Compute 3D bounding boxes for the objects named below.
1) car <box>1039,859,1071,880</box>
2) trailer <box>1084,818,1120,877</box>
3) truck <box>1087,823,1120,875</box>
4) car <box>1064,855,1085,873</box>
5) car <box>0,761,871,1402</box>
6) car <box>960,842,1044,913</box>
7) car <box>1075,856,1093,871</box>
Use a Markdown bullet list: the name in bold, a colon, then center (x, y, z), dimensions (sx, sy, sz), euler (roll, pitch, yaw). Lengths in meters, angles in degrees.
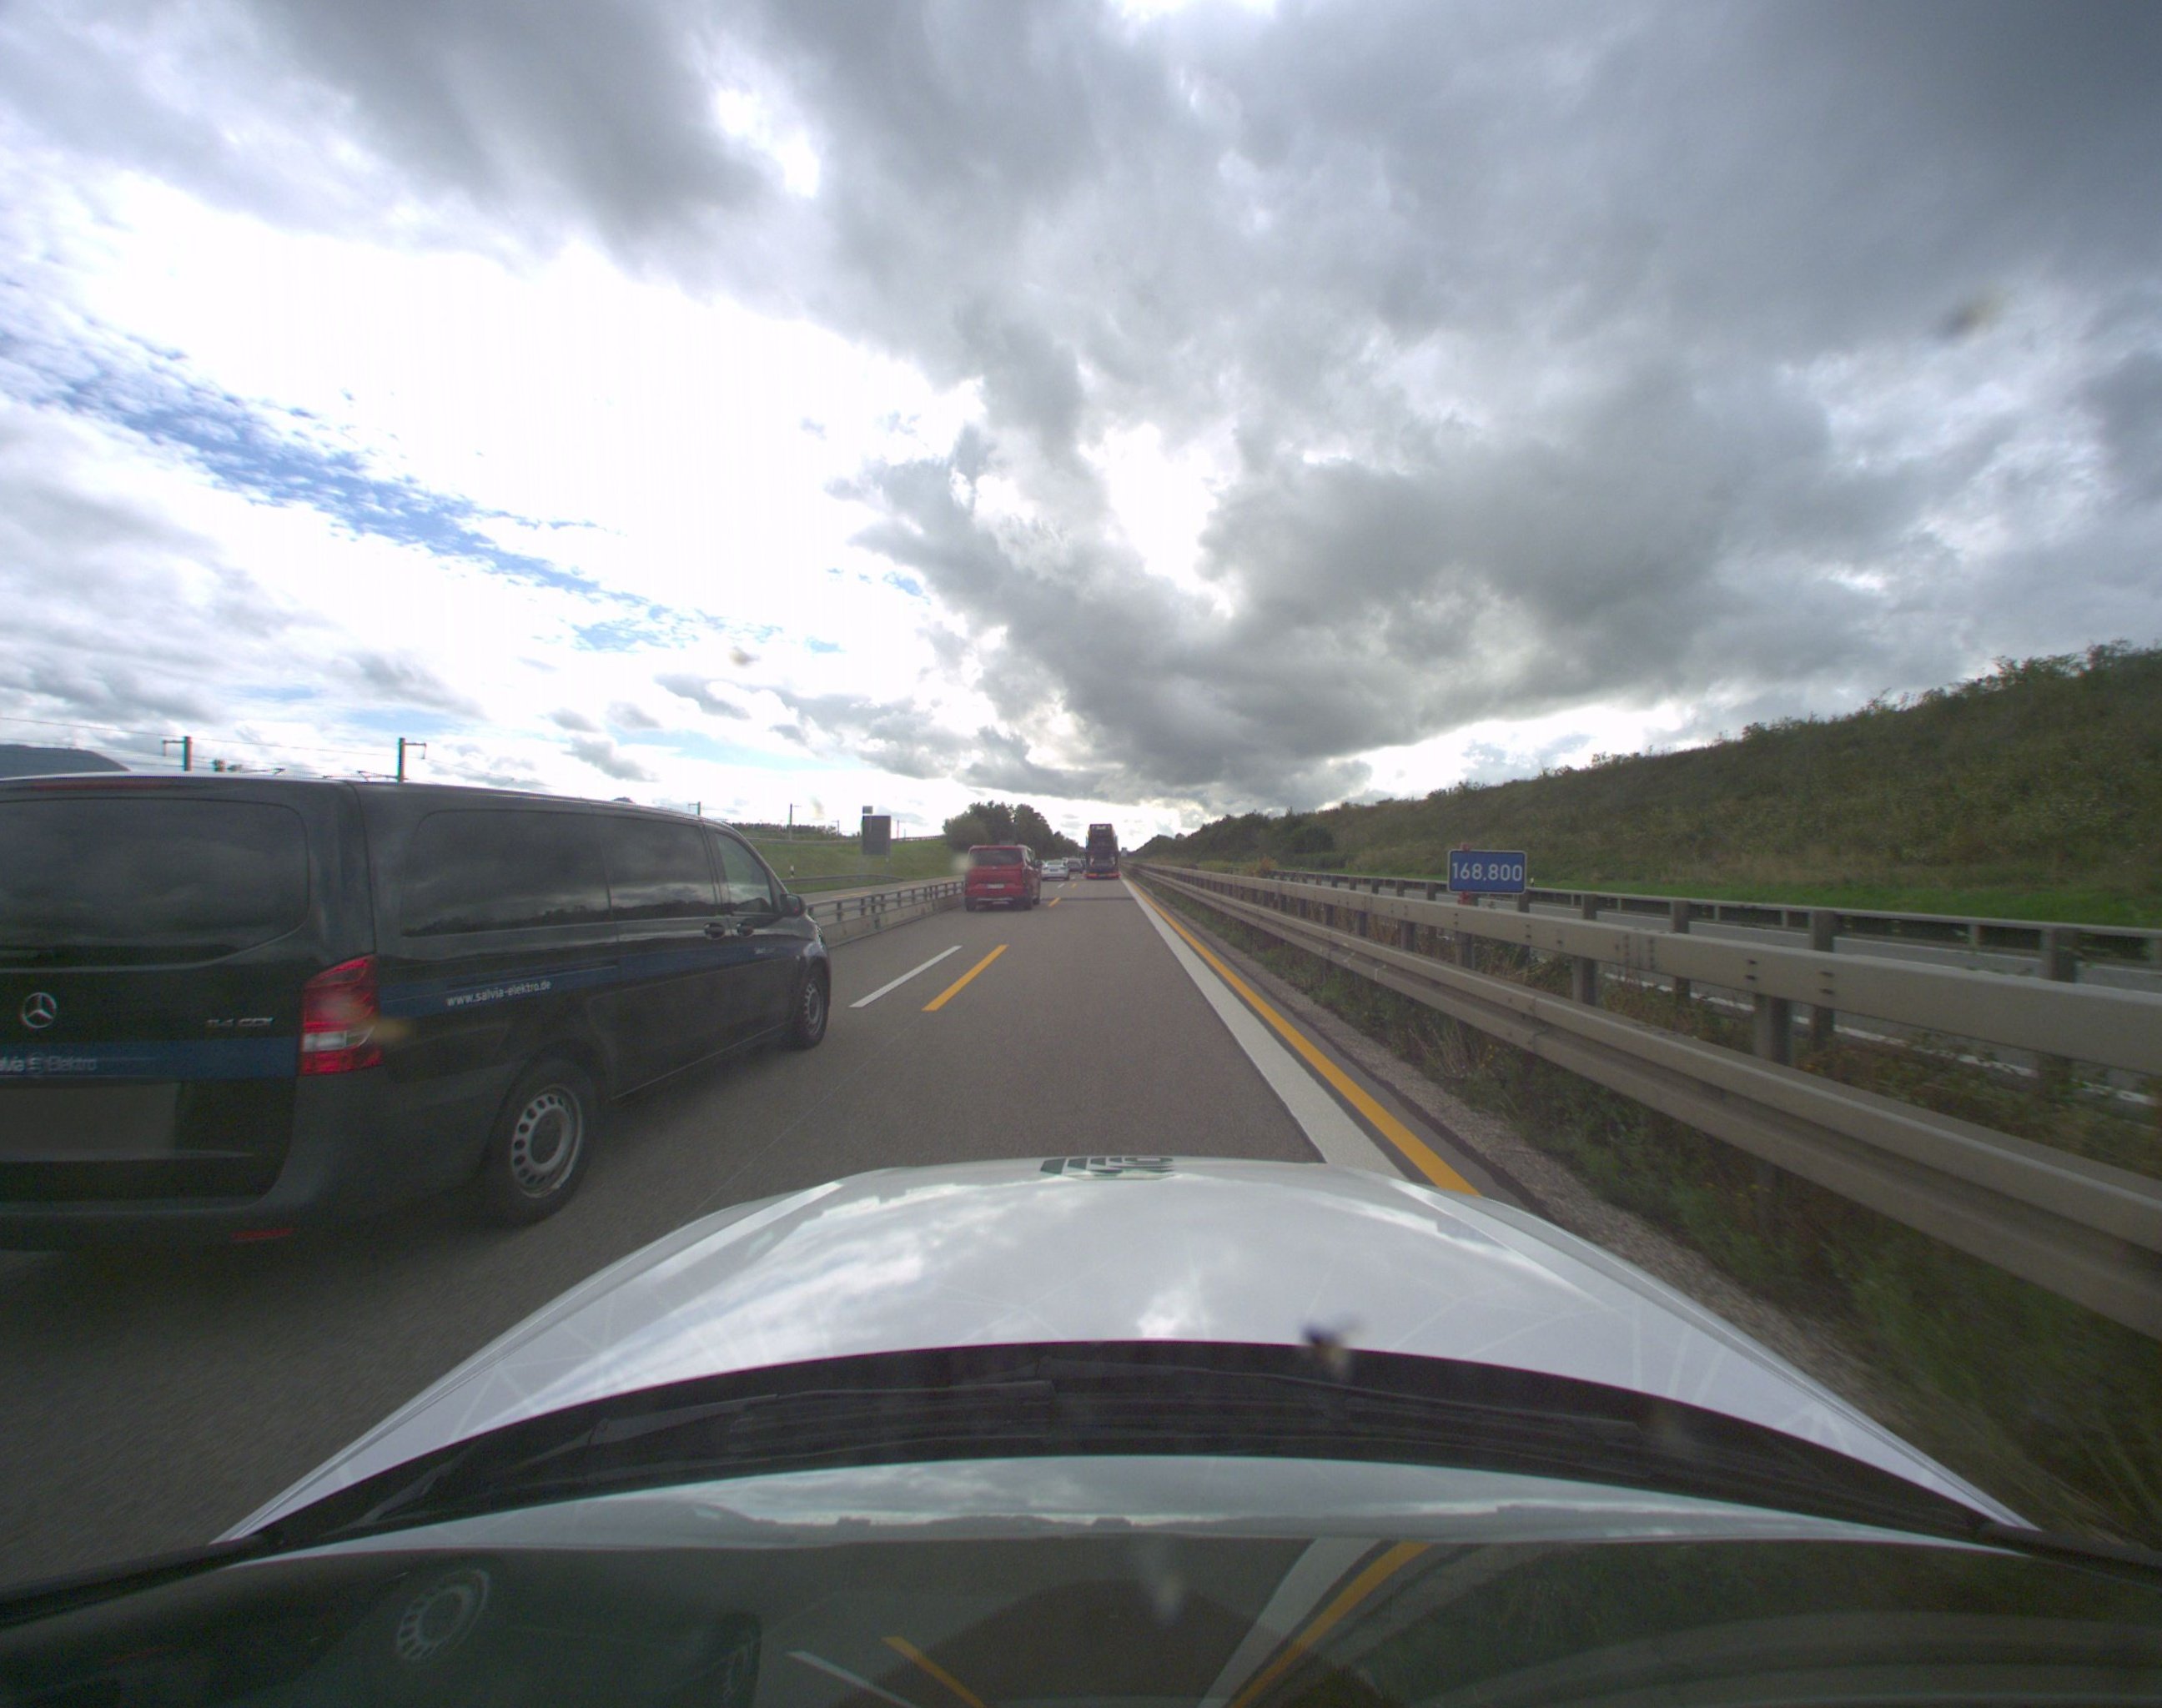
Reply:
- **car**: center (-1.837, 1.089, 58.727), dimensions (2.024, 1.431, 4.579), euler (-1, 0, 1)
- **trailer**: center (1.709, -0.423, 62.854), dimensions (2.505, 4.105, 11.120), euler (-1, 0, 3)
- **truck**: center (1.920, -0.394, 67.696), dimensions (2.505, 4.105, 5.688), euler (-1, 0, 2)
- **car**: center (-0.632, 1.004, 84.502), dimensions (2.024, 1.757, 4.579), euler (-1, 0, 1)
- **car**: center (-3.172, 0.689, 5.185), dimensions (1.986, 1.843, 5.612), euler (-1, 0, 2)
- **car**: center (-2.380, 0.701, 25.834), dimensions (2.023, 2.014, 4.580), euler (-1, 0, 2)
- **car**: center (0.420, 1.141, 98.353), dimensions (2.024, 1.757, 4.578), euler (-1, 0, 1)
